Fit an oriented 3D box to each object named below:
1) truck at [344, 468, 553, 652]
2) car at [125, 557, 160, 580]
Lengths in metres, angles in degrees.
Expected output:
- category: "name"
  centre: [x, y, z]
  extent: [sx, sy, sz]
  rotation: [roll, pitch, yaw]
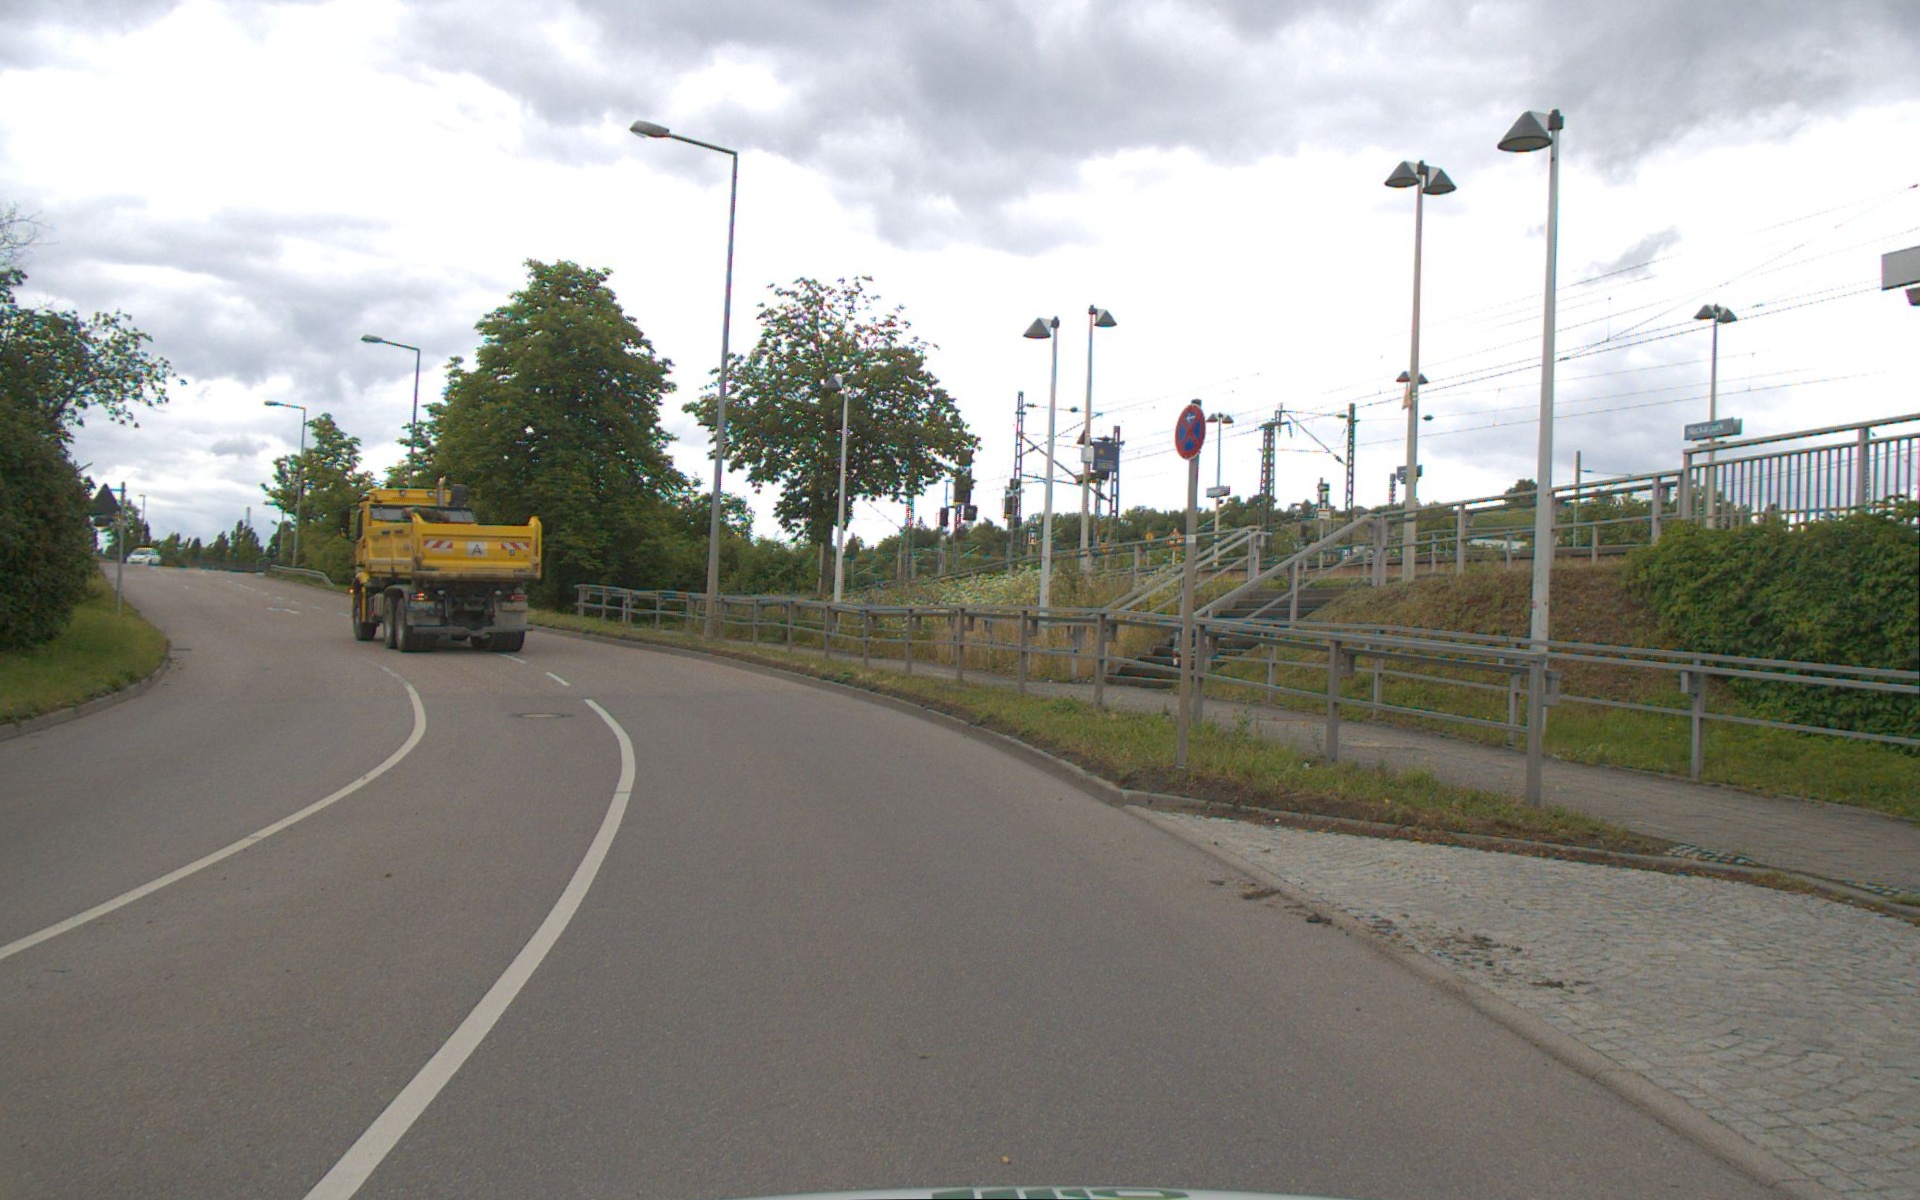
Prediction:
- category: "truck"
  centre: [-11.325, -0.869, 36.049]
  extent: [2.735, 3.544, 8.051]
  rotation: [1, 1, -29]
- category: "car"
  centre: [-64.406, -2.450, 130.373]
  extent: [1.964, 1.668, 3.977]
  rotation: [3, 0, -20]
